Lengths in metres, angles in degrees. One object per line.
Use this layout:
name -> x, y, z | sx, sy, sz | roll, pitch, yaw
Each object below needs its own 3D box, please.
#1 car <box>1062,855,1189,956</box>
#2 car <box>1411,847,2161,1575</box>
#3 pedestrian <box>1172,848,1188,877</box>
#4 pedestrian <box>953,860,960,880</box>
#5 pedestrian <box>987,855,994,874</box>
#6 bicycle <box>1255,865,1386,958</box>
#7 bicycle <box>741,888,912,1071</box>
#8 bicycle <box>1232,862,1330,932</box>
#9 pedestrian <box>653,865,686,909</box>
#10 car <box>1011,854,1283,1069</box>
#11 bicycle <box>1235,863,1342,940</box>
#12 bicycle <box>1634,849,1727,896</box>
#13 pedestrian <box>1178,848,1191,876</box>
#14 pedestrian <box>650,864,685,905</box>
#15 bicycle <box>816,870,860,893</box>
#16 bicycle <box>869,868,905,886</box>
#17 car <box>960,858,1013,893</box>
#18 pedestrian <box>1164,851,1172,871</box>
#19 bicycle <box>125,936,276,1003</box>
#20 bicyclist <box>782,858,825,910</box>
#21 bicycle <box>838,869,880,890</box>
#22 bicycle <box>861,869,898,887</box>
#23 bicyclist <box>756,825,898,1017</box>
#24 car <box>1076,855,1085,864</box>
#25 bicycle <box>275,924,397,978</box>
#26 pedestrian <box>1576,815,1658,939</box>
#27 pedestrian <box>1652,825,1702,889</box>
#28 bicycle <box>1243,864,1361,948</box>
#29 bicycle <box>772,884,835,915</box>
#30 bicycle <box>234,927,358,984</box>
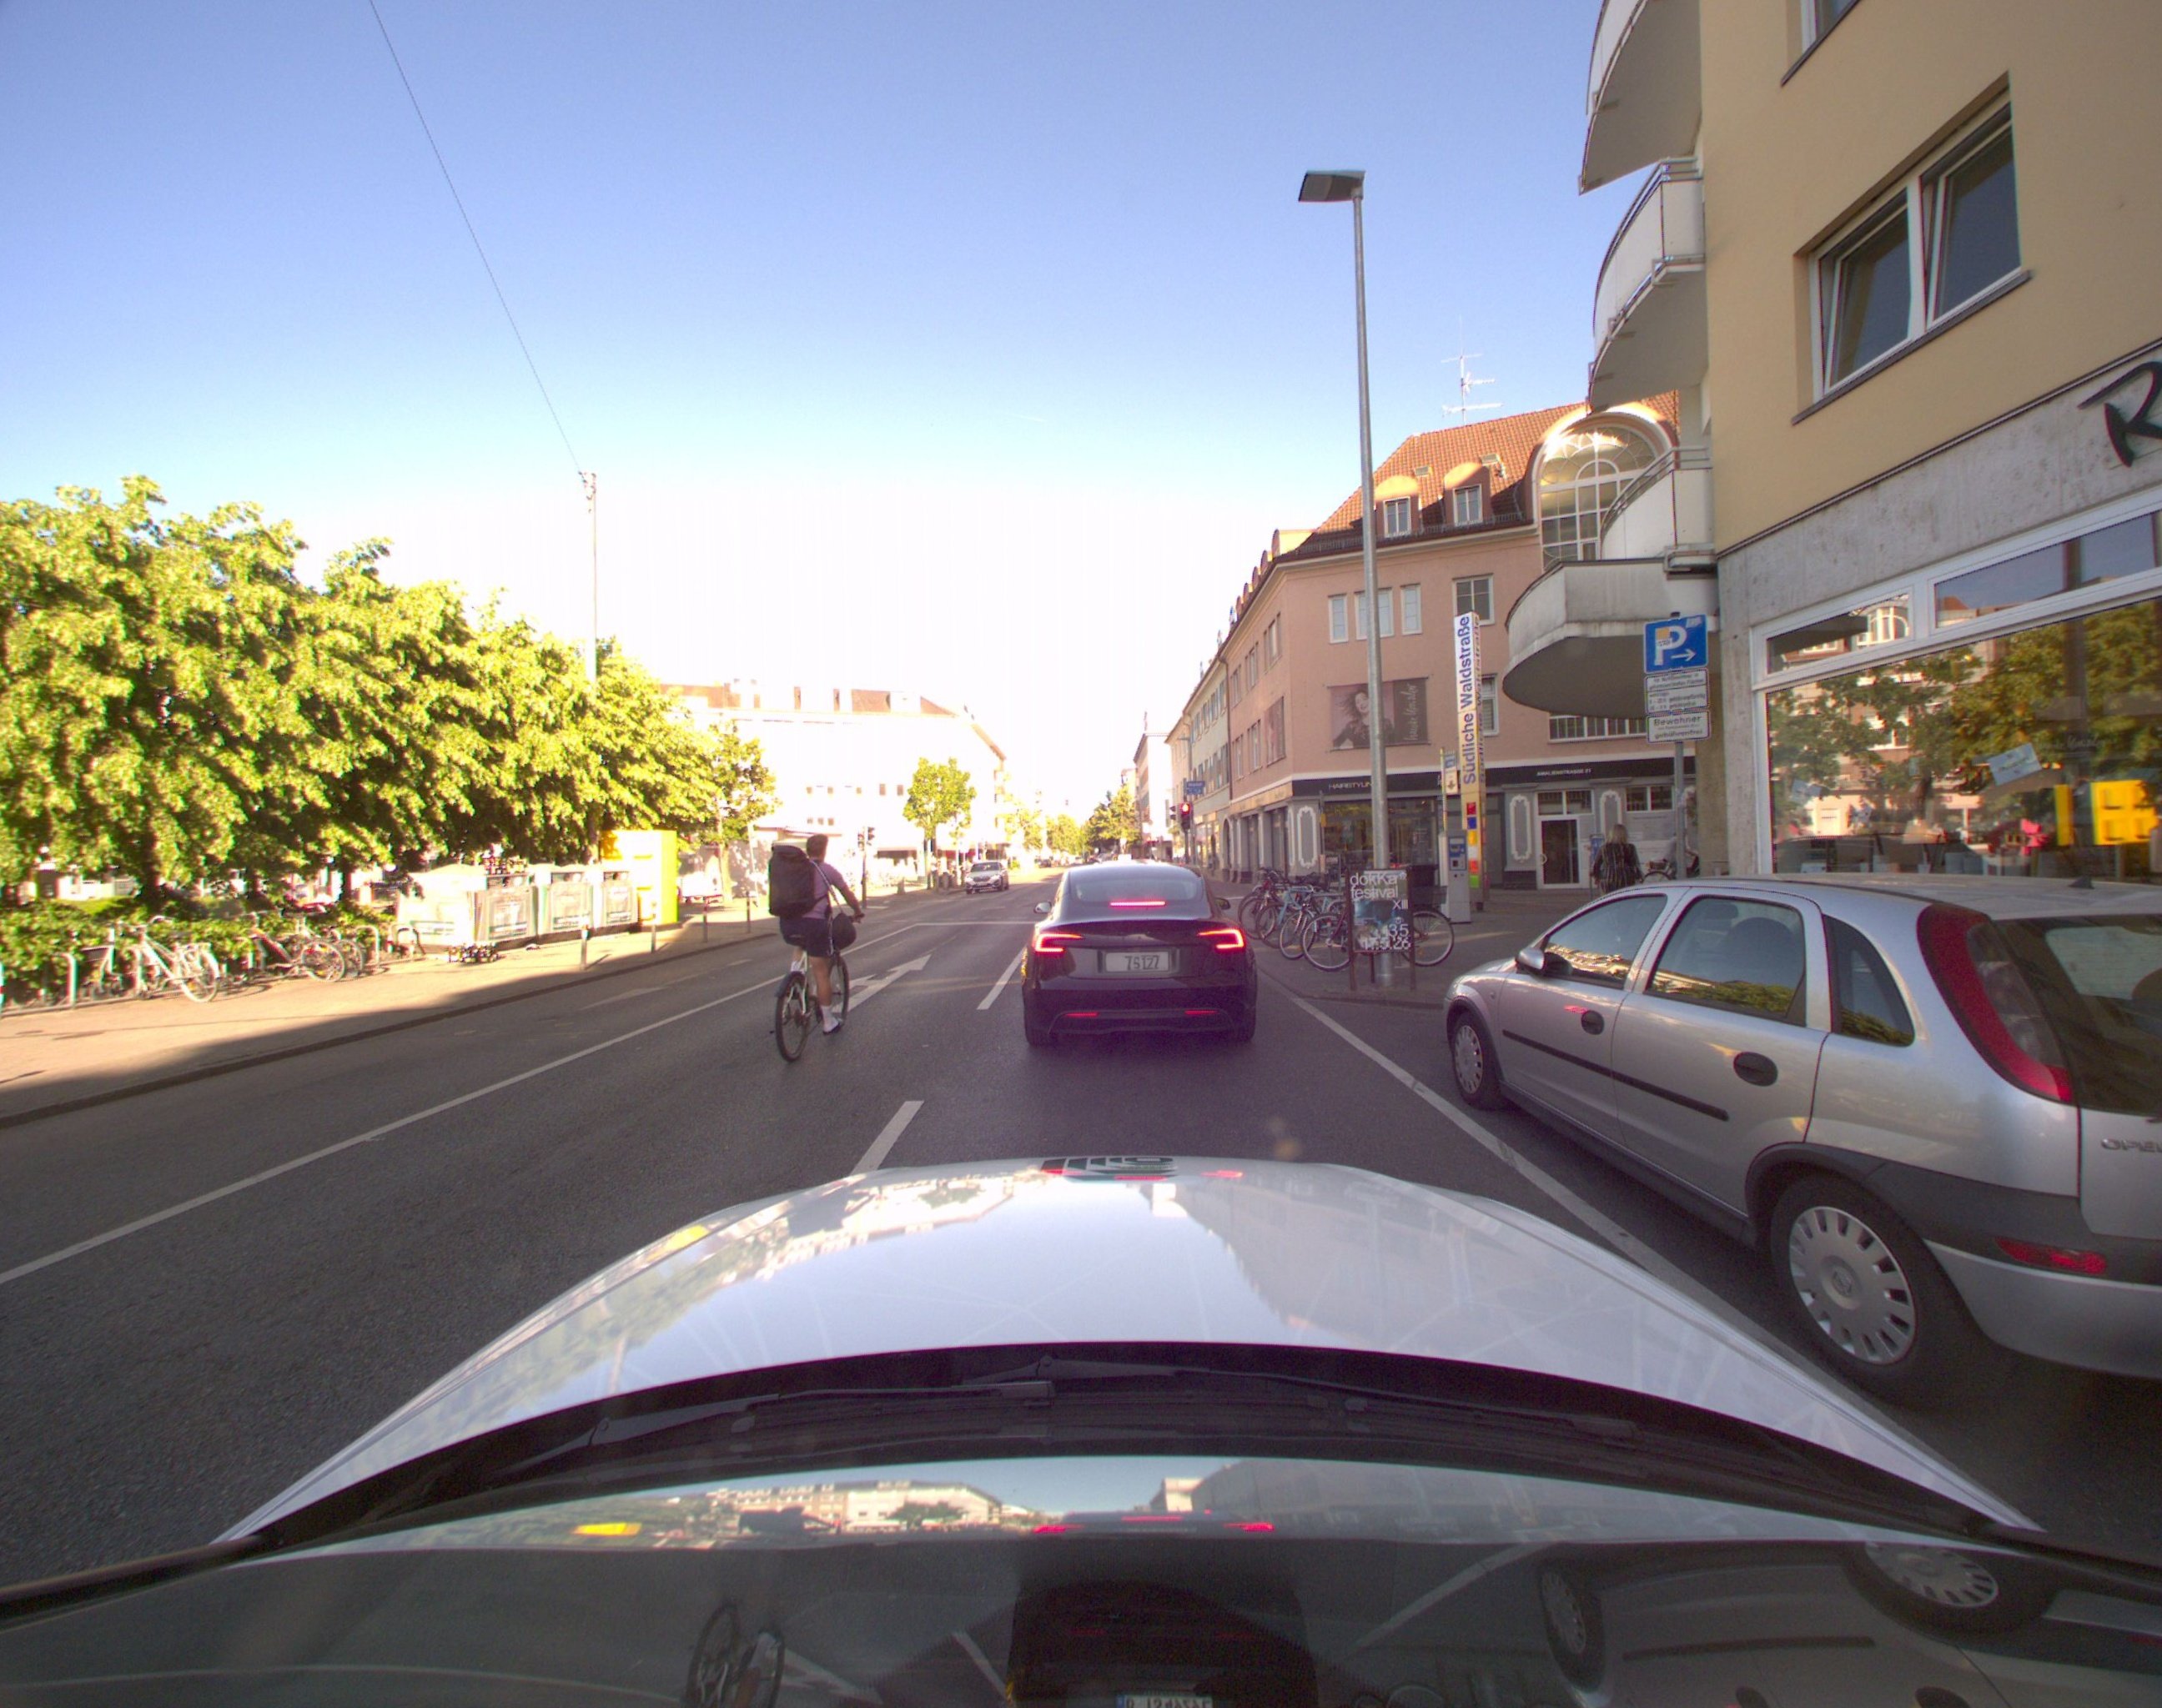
car -> 0.744, 0.762, 13.879 | 1.842, 1.455, 3.788 | -1, 0, 3
car -> 2.950, 0.691, 3.508 | 1.615, 1.394, 3.888 | -1, 0, 3
pedestrian -> 6.439, 0.558, 52.986 | 0.995, 1.850, 0.615 | -1, 0, 1
pedestrian -> -9.616, 1.233, 62.828 | 0.385, 1.591, 0.705 | -1, 0, -3
pedestrian -> -9.636, 1.146, 86.515 | 0.623, 2.014, 0.707 | -1, 0, 1
bicycle -> 3.287, 0.775, 11.236 | 1.622, 1.160, 0.433 | -3, 0, 0
bicycle -> -2.026, 0.943, 6.775 | 0.793, 1.233, 1.774 | -1, 0, 2
bicycle -> 3.621, 0.769, 14.792 | 1.621, 1.160, 0.433 | -3, 0, 2
pedestrian -> -16.584, 1.322, 32.853 | 0.897, 1.725, 0.745 | -1, 0, 5
car -> 0.541, 0.752, 7.524 | 1.842, 1.455, 3.788 | -1, 0, 3
bicycle -> 3.445, 0.781, 13.574 | 1.622, 1.160, 0.433 | -3, 0, 0
bicycle -> 13.768, 0.432, 18.730 | 1.604, 1.045, 0.593 | -1, -1, 14
pedestrian -> 6.730, 0.522, 52.997 | 0.701, 1.783, 0.534 | -1, 0, 1
pedestrian -> -16.721, 1.217, 32.945 | 0.981, 1.636, 0.738 | -1, 0, 5
bicycle -> -12.847, 1.453, 43.126 | 2.075, 1.104, 0.806 | -1, 0, 1
bicycle -> -12.519, 1.454, 52.614 | 2.075, 1.104, 0.806 | -1, 0, 1
car -> -4.741, 1.038, 41.344 | 1.986, 1.541, 4.002 | -5, 0, 2
pedestrian -> 7.442, 0.560, 69.758 | 0.568, 1.691, 0.387 | -1, 0, 1
bicycle -> -11.132, 1.450, 10.305 | 1.645, 0.769, 0.476 | -1, -1, 10
bicyclist -> -8.943, 0.960, 26.237 | 1.112, 1.654, 0.631 | -1, 0, 12
bicycle -> -12.430, 1.443, 45.639 | 2.075, 1.104, 0.806 | -1, 0, 1
bicycle -> -12.476, 1.483, 50.417 | 2.075, 1.104, 0.806 | -1, 0, 1
bicyclist -> -2.038, 0.509, 6.681 | 0.793, 1.435, 1.008 | -1, 0, 1
car -> -0.065, 1.199, 172.447 | 1.824, 1.724, 4.000 | -1, 0, 0
bicycle -> -11.251, 1.461, 12.319 | 1.466, 0.769, 0.475 | -1, -1, 4
pedestrian -> 7.420, 0.311, 11.287 | 0.630, 1.633, 0.657 | -3, -1, -32
pedestrian -> 13.702, 0.080, 18.745 | 0.738, 1.440, 0.584 | -1, -1, 14
bicycle -> 3.349, 0.780, 12.394 | 1.622, 1.160, 0.433 | -3, 0, 0
bicycle -> -8.945, 1.446, 26.227 | 1.850, 0.946, 0.631 | 0, 0, 12
bicycle -> -11.322, 1.463, 11.760 | 1.465, 0.769, 0.442 | -1, -1, 6
